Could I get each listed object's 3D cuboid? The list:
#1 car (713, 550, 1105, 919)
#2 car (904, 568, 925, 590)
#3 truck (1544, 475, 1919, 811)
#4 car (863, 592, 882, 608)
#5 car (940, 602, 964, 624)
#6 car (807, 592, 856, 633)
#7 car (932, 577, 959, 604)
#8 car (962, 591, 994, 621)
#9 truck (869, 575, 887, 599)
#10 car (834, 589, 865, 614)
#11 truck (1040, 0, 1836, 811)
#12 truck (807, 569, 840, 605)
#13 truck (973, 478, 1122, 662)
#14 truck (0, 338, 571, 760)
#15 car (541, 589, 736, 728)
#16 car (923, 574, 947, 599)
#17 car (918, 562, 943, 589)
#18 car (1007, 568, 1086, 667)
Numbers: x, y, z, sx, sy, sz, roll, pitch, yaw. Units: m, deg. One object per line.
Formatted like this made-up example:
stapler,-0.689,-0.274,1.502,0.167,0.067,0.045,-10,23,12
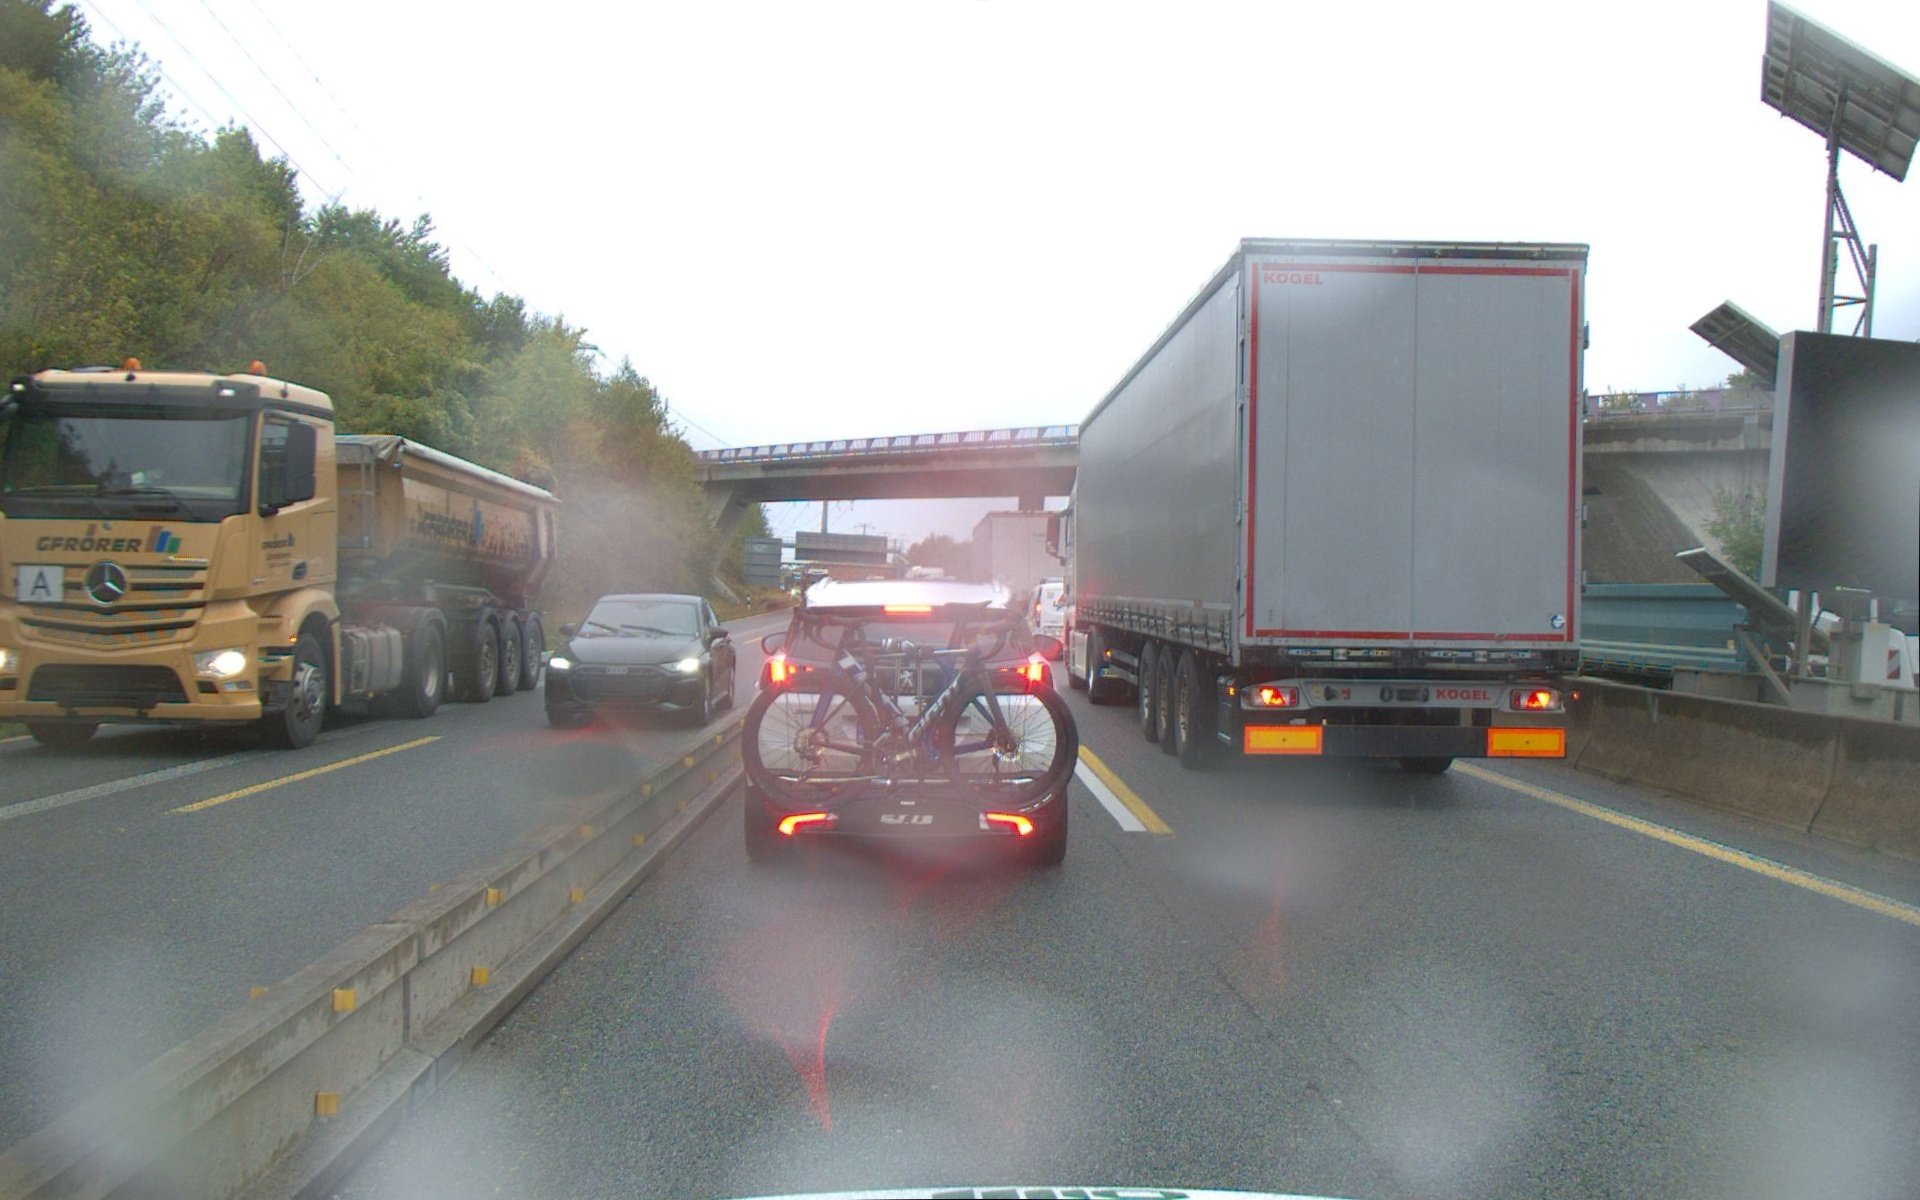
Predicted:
car,-0.219,0.620,9.890,1.773,1.666,4.635,1,0,0
car,-4.602,-2.099,167.790,1.953,2.164,4.526,1,0,-1
truck,10.093,0.428,20.284,2.469,3.186,9.116,1,0,-1
car,-8.035,0.033,152.493,1.652,1.434,3.928,1,0,-3
car,-0.556,0.893,114.076,1.605,1.524,3.665,1,0,-1
car,-5.230,0.503,67.464,1.773,1.586,3.988,1,0,-2
car,-1.114,-0.695,126.804,1.953,2.049,3.999,1,0,-1
car,0.924,0.334,87.620,1.605,1.524,3.665,1,0,-1
truck,-12.387,-1.925,250.499,2.484,3.411,12.045,1,0,-2
car,-6.976,0.077,104.651,1.773,1.514,4.395,1,0,-2
truck,3.690,-1.488,21.173,3.899,5.772,20.370,1,0,-1
truck,-14.722,-1.351,179.361,2.627,3.720,12.309,1,0,-1
truck,2.854,-0.927,62.664,4.645,5.772,20.375,1,0,0
truck,-7.106,-0.401,19.496,2.484,3.411,12.045,1,0,-2
car,-3.635,0.618,19.330,1.652,1.434,3.928,1,0,-3
car,-2.085,-1.105,138.547,1.953,2.049,3.999,1,0,-1
car,-2.672,-2.212,151.023,2.193,2.347,4.571,1,0,-1
car,2.020,0.394,39.593,1.635,2.218,4.534,1,0,0
